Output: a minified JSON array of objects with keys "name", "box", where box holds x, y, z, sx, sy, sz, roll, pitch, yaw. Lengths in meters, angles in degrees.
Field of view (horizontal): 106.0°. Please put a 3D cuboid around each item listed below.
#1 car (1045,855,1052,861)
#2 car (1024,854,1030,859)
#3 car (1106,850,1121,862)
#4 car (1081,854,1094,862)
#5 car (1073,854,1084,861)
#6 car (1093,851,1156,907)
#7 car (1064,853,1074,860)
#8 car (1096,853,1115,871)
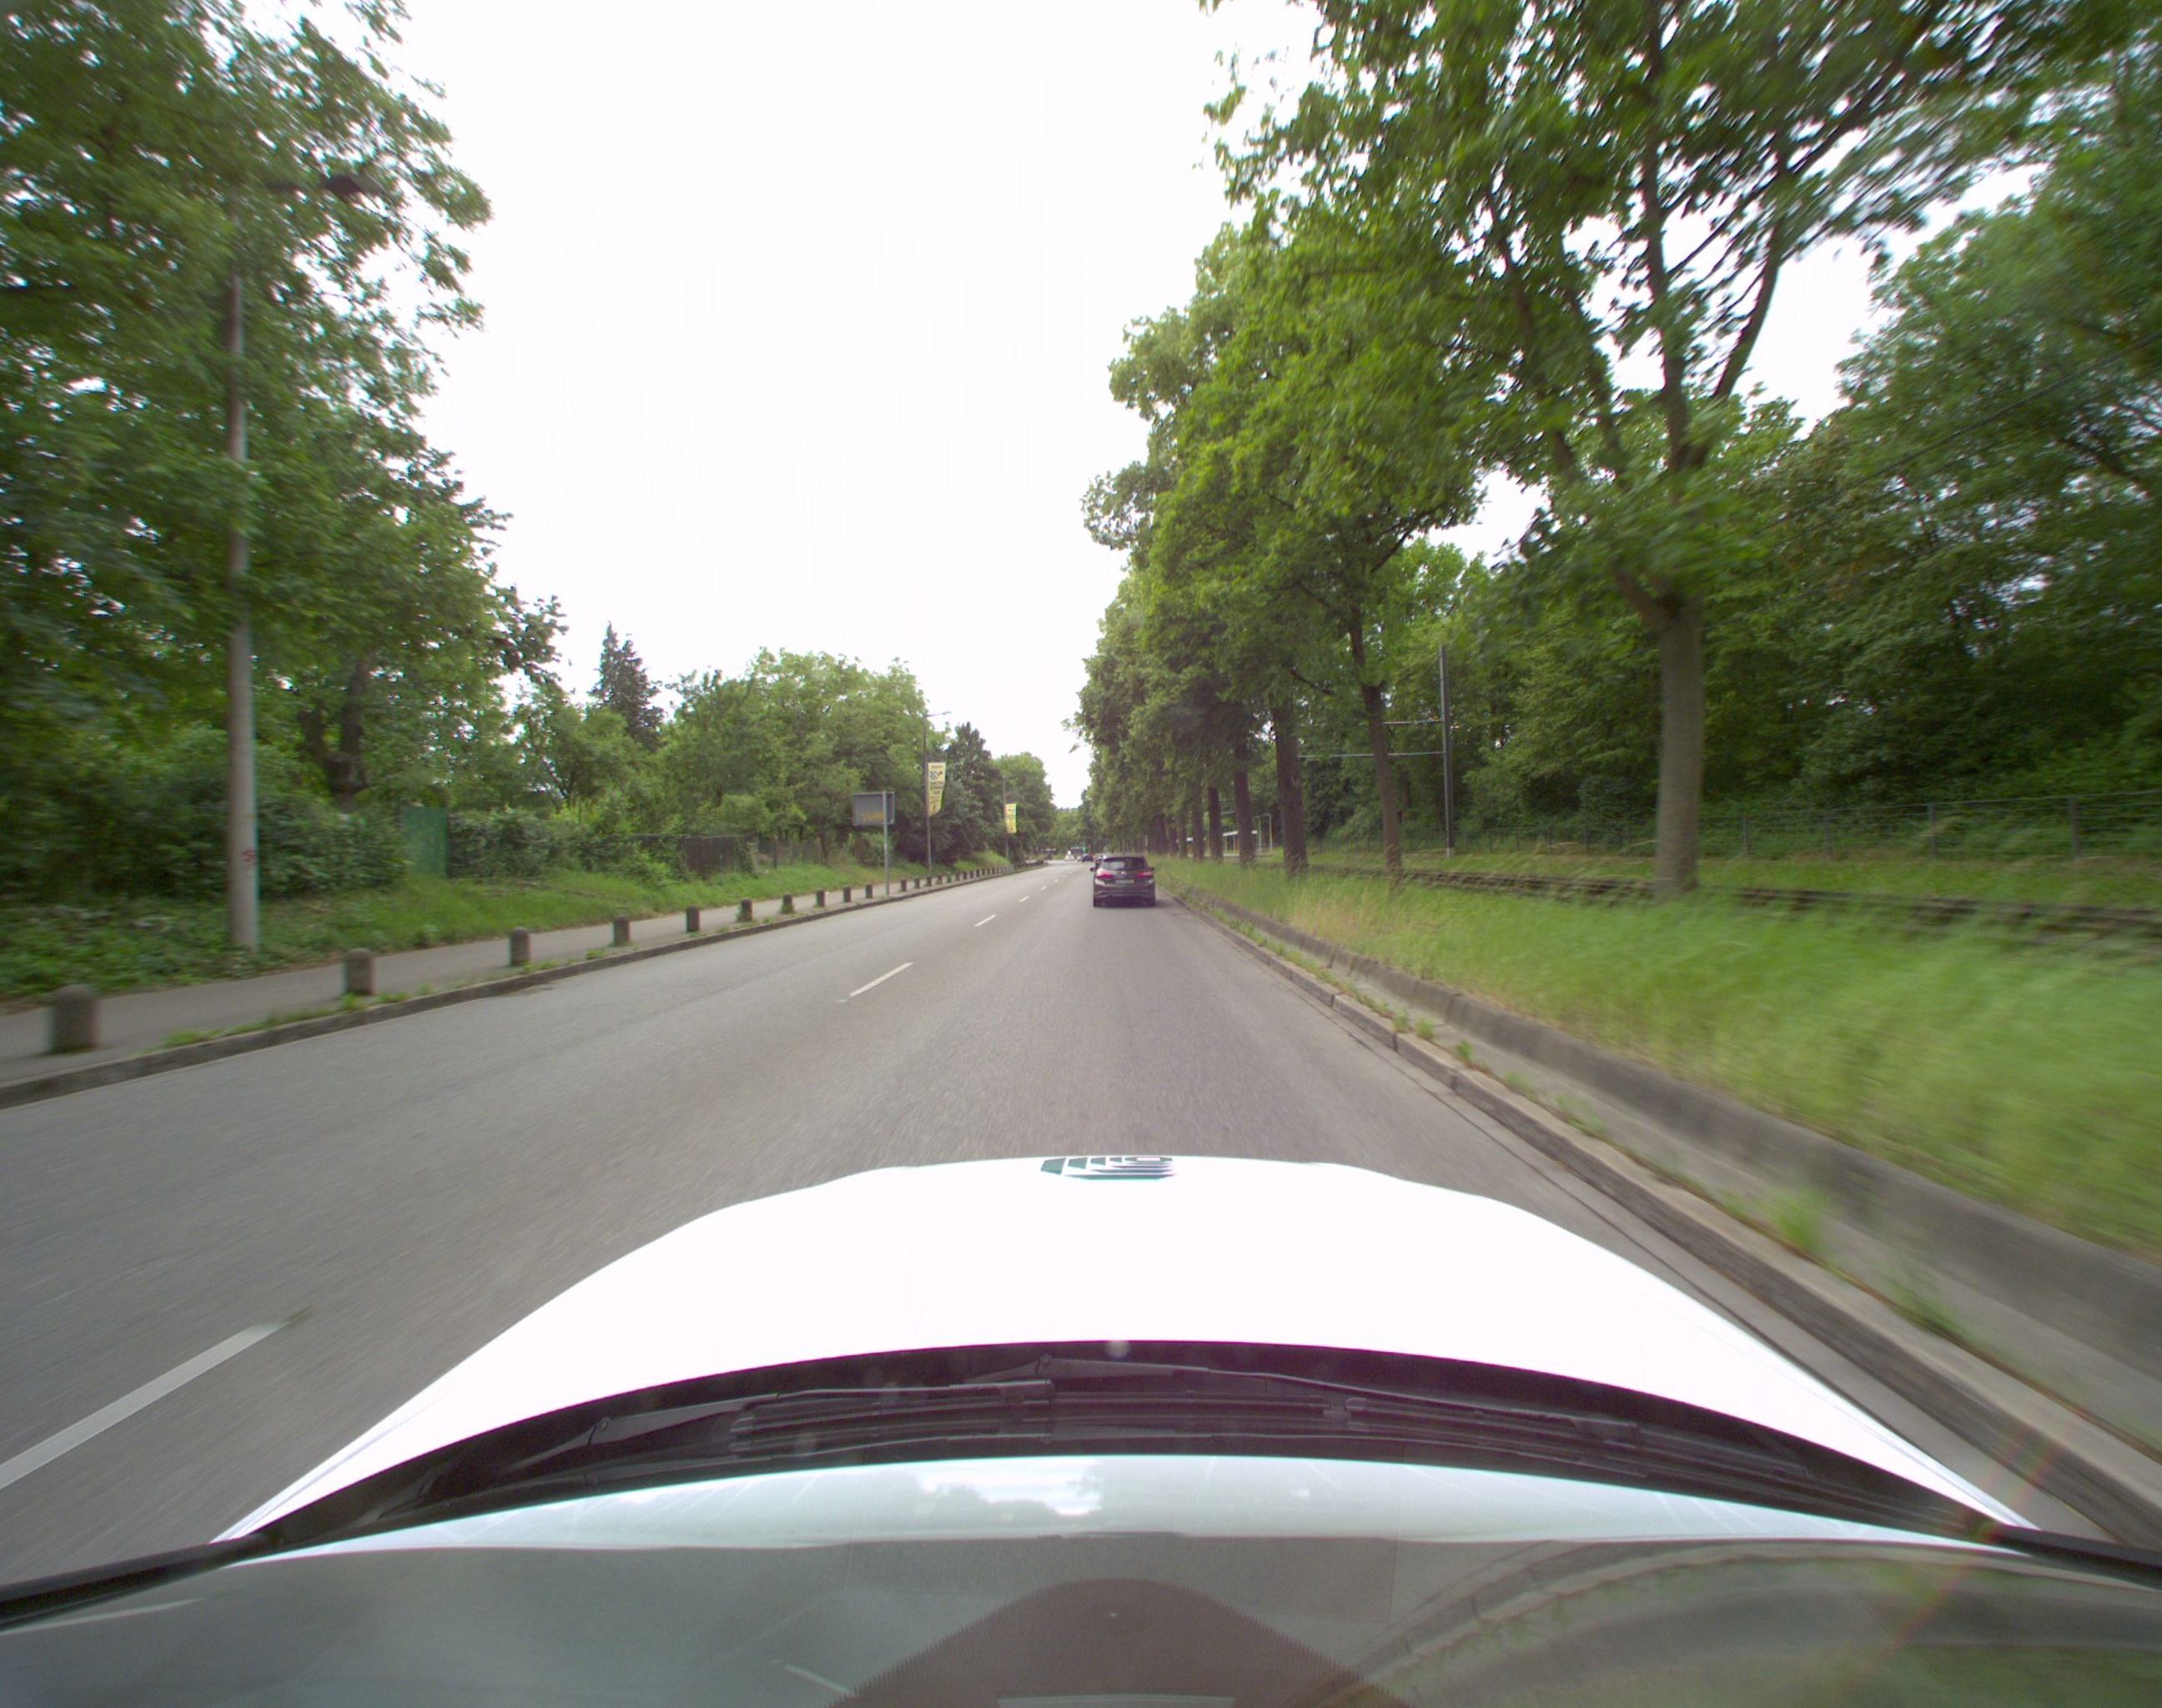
[{"name":"car","box":[-8.384,0.982,209.455,1.561,1.441,3.541,0,0,-9]},{"name":"car","box":[-16.192,0.835,244.703,1.562,1.441,3.538,0,0,-11]},{"name":"car","box":[3.849,0.205,97.744,1.557,1.441,3.550,0,0,-1]},{"name":"car","box":[1.096,0.691,137.885,1.561,1.441,3.540,0,0,-10]},{"name":"car","box":[-0.496,0.666,153.976,1.561,1.441,3.540,0,0,-10]},{"name":"car","box":[1.223,0.679,24.155,1.724,1.537,3.552,0,0,1]},{"name":"car","box":[-2.585,0.608,175.768,1.563,1.441,3.536,0,0,-13]},{"name":"car","box":[2.169,0.728,72.891,1.724,1.537,3.552,0,0,1]}]
